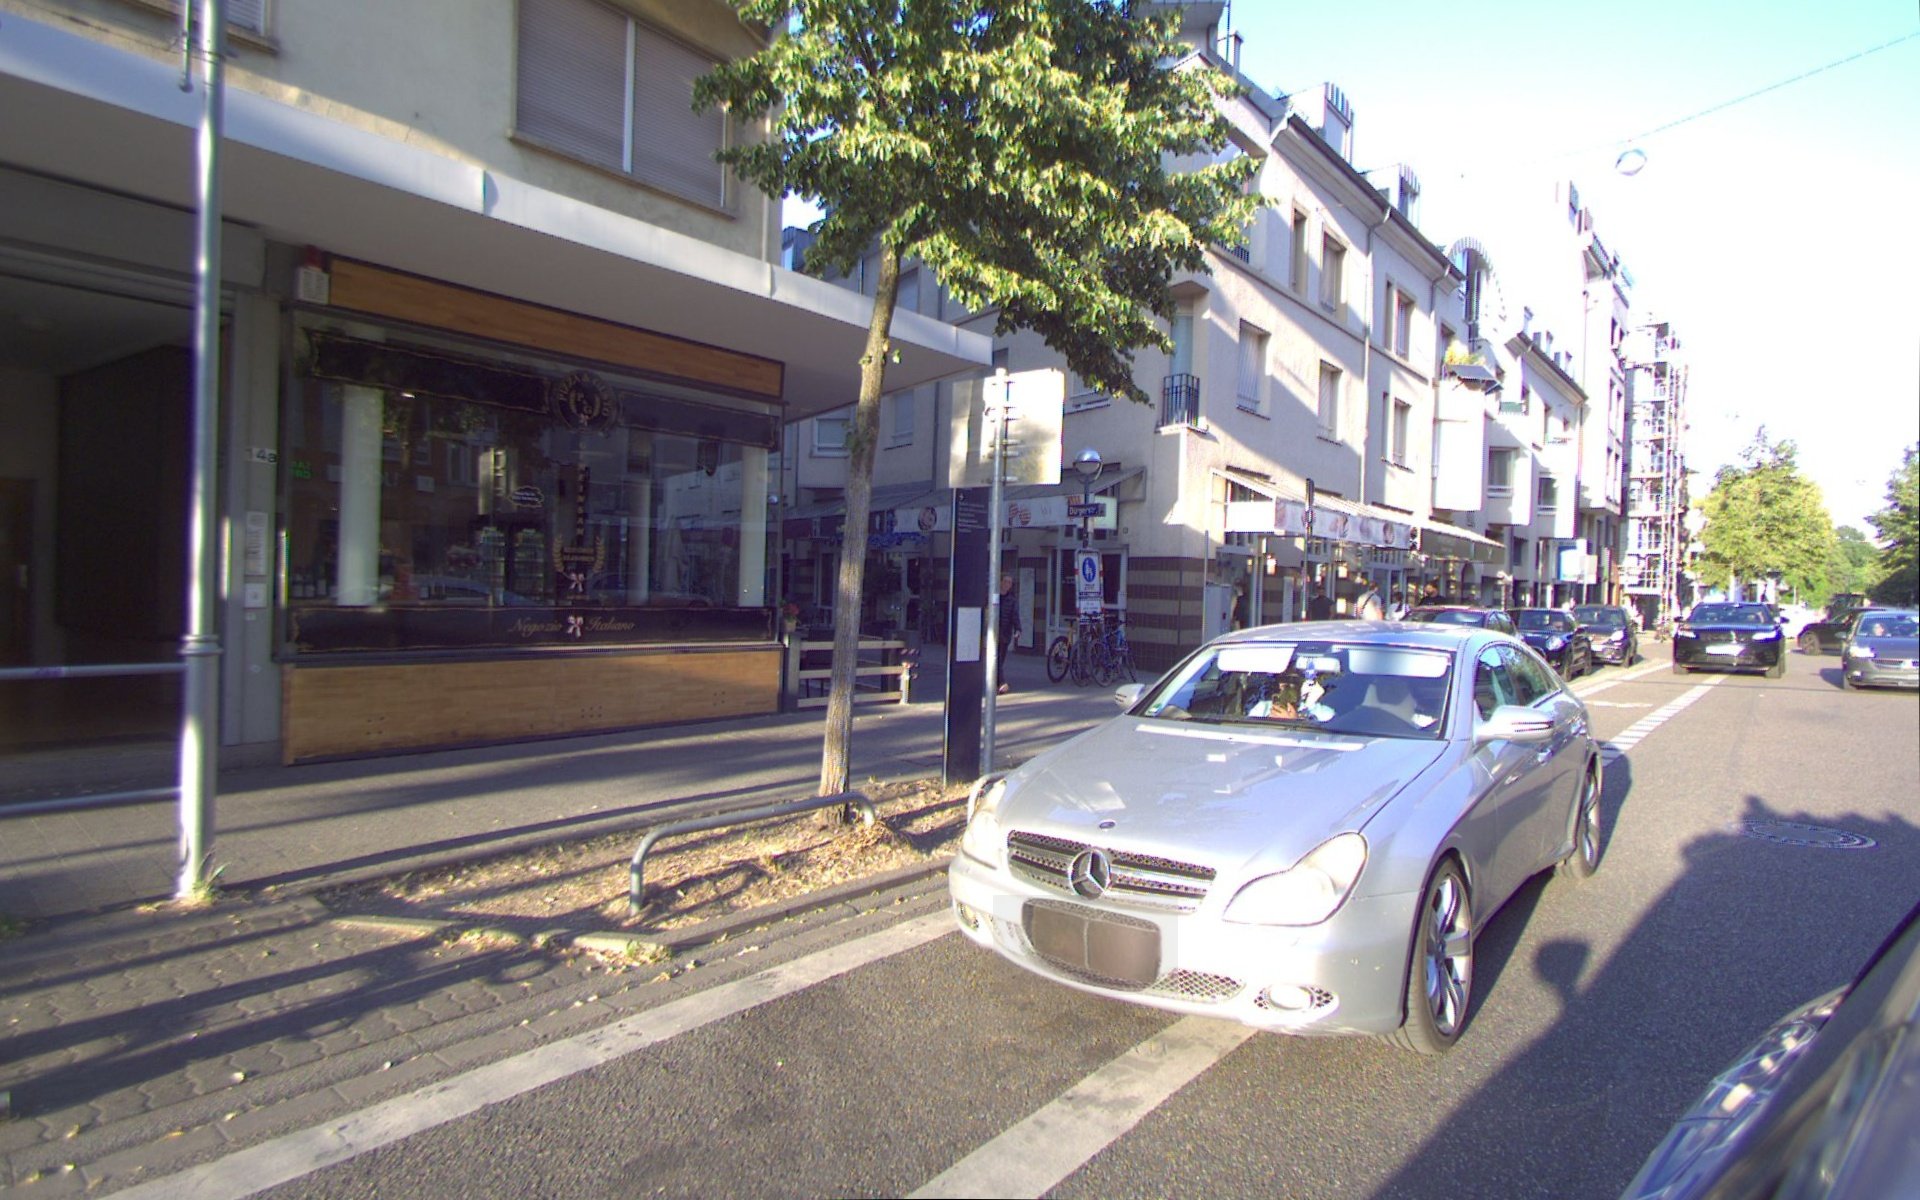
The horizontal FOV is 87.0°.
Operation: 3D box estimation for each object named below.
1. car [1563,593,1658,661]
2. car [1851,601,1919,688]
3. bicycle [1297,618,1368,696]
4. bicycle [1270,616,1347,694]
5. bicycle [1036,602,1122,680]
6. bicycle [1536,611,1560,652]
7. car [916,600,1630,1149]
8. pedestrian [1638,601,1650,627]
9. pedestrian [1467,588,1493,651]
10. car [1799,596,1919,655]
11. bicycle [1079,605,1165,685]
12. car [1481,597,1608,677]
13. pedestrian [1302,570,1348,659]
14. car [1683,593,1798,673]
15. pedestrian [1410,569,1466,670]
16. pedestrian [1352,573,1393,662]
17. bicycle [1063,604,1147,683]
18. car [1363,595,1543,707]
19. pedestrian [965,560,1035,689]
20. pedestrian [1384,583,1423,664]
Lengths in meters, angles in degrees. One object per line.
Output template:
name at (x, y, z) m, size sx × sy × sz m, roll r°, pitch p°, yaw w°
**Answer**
car at (17.185, 0.657, 26.671) m, size 1.615 × 1.612 × 3.868 m, roll 2°, pitch 1°, yaw 40°
car at (17.680, 0.767, 18.803) m, size 1.616 × 1.492 × 3.634 m, roll 0°, pitch 0°, yaw 41°
bicycle at (5.482, 0.808, 14.847) m, size 0.314 × 1.059 × 1.638 m, roll 3°, pitch 2°, yaw 43°
bicycle at (5.214, 0.791, 15.082) m, size 0.314 × 1.059 × 1.853 m, roll 3°, pitch 2°, yaw 43°
bicycle at (1.880, 0.610, 15.726) m, size 0.320 × 1.118 × 1.851 m, roll 2°, pitch 1°, yaw 41°
bicycle at (16.263, 0.857, 27.973) m, size 0.295 × 1.099 × 1.441 m, roll 1°, pitch 1°, yaw 41°
car at (1.960, 0.725, 4.998) m, size 1.740 × 1.418 × 4.572 m, roll 0°, pitch 0°, yaw 40°
pedestrian at (34.927, 0.712, 51.671) m, size 0.490 × 1.279 × 0.415 m, roll 0°, pitch 0°, yaw 42°
pedestrian at (15.231, 0.551, 29.642) m, size 0.574 × 1.823 × 0.443 m, roll 0°, pitch 0°, yaw 42°
car at (29.640, 0.788, 32.247) m, size 1.699 × 1.696 × 4.305 m, roll 1°, pitch 1°, yaw -12°
bicycle at (2.458, 0.644, 15.180) m, size 0.320 × 1.118 × 1.851 m, roll 2°, pitch 1°, yaw 41°
car at (12.256, 0.709, 21.121) m, size 1.615 × 1.452 × 3.868 m, roll 3°, pitch 2°, yaw 40°
pedestrian at (7.477, 0.293, 20.739) m, size 0.629 × 1.771 × 0.660 m, roll 3°, pitch 2°, yaw 41°
car at (17.933, 0.689, 23.176) m, size 1.884 × 1.656 × 4.165 m, roll 0°, pitch 0°, yaw 41°
pedestrian at (9.243, 0.373, 19.569) m, size 0.776 × 1.907 × 0.660 m, roll -2°, pitch -2°, yaw 41°
pedestrian at (8.596, 0.355, 21.084) m, size 0.543 × 1.779 × 0.495 m, roll 5°, pitch 3°, yaw 41°
bicycle at (2.228, 0.628, 15.386) m, size 0.290 × 1.118 × 1.859 m, roll 2°, pitch 1°, yaw 41°
car at (7.776, 0.693, 15.781) m, size 1.587 × 1.451 × 3.868 m, roll 4°, pitch 2°, yaw 40°
pedestrian at (0.537, 0.322, 13.885) m, size 0.688 × 1.696 × 0.799 m, roll 2°, pitch 2°, yaw -13°
pedestrian at (9.133, 0.478, 20.840) m, size 0.519 × 1.612 × 0.402 m, roll 5°, pitch 3°, yaw 41°
